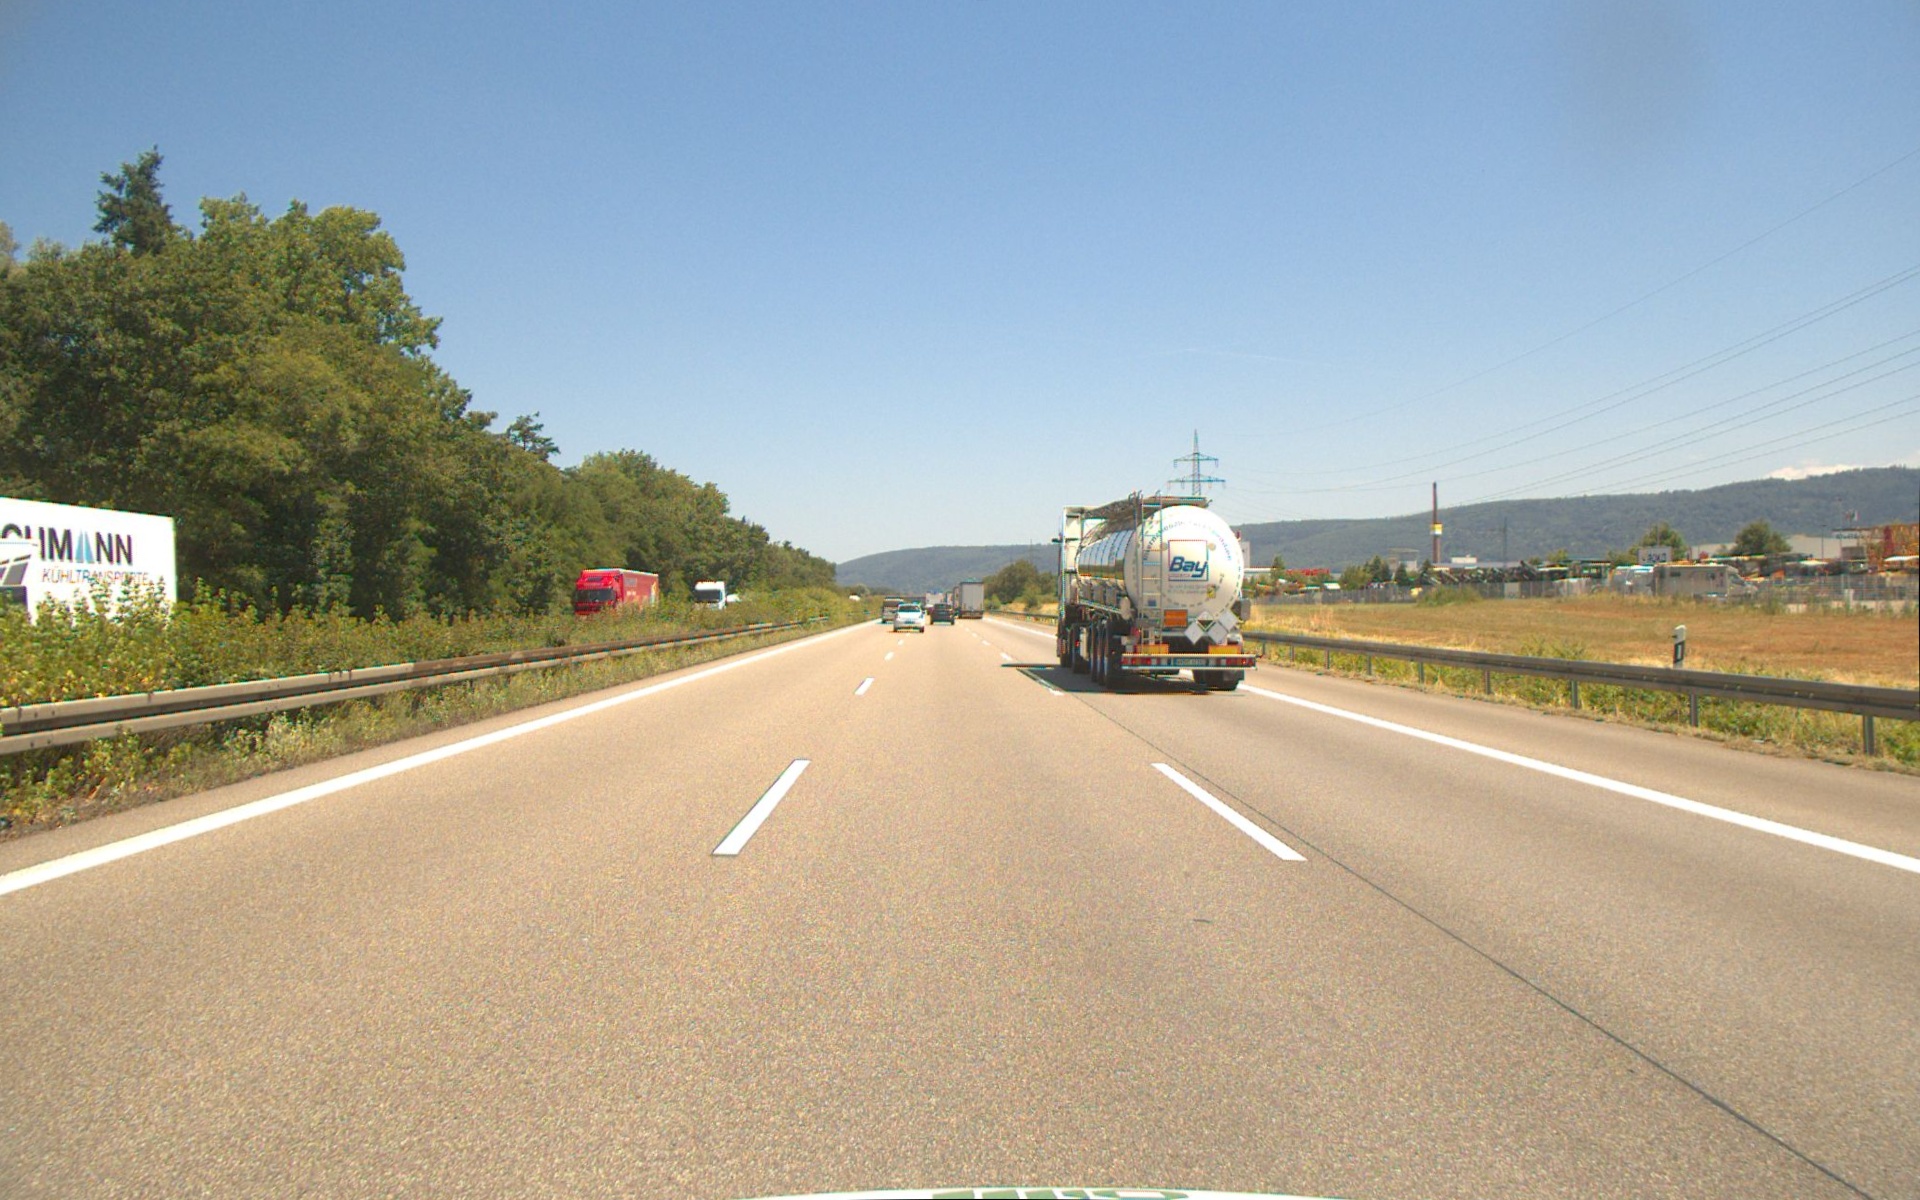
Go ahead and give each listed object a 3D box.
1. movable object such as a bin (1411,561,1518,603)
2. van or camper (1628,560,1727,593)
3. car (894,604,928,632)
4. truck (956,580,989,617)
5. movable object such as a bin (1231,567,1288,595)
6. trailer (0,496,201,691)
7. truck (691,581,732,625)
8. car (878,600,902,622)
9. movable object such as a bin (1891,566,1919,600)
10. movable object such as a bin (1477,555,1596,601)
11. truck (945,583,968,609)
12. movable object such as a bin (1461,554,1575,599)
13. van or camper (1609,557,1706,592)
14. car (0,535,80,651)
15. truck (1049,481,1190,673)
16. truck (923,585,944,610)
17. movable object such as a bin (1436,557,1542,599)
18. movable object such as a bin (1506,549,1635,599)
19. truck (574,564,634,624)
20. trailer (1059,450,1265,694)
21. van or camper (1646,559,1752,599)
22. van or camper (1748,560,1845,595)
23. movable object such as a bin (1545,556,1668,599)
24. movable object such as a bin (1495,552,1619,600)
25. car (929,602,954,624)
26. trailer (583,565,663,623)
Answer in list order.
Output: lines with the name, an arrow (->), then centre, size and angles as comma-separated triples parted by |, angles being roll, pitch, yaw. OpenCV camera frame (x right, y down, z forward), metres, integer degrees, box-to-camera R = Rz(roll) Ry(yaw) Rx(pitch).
movable object such as a bin -> 50.872, -1.807, 166.917 | 10.046, 3.754, 2.393 | -2, 0, -2
van or camper -> 51.444, -1.673, 118.651 | 5.991, 2.259, 2.602 | -1, 0, 0
car -> -2.678, 0.977, 91.003 | 1.770, 1.494, 3.999 | 1, 0, -1
truck -> 1.364, -0.205, 184.832 | 3.199, 3.925, 11.628 | 1, 0, -1
movable object such as a bin -> 44.544, -2.776, 246.366 | 8.013, 3.797, 3.339 | -2, 0, 6
trailer -> -19.981, -0.148, 33.713 | 2.768, 3.774, 13.925 | 1, 0, -1
truck -> -21.903, 0.260, 146.154 | 2.538, 3.770, 6.827 | 1, 0, 0
car -> -5.565, 0.843, 131.792 | 1.814, 1.661, 3.999 | 1, 0, -1
movable object such as a bin -> 75.589, -1.358, 128.178 | 2.853, 2.599, 6.806 | -2, 0, -1
movable object such as a bin -> 51.718, -1.980, 148.584 | 9.516, 3.754, 2.977 | -2, 0, 1
truck -> -0.540, -0.592, 241.936 | 3.034, 3.535, 11.539 | 1, 0, -1
movable object such as a bin -> 51.423, -2.126, 152.527 | 9.516, 3.754, 2.633 | -2, 0, 1
van or camper -> 51.236, -1.861, 121.616 | 5.991, 2.444, 2.602 | -1, 0, 0
car -> -16.120, -0.133, 25.402 | 2.255, 1.811, 5.424 | 1, 0, 0
truck -> 3.663, -0.508, 39.347 | 2.521, 4.143, 6.390 | 1, 0, -1
truck -> -3.978, -0.393, 245.741 | 3.034, 3.535, 11.539 | 1, 0, -1
movable object such as a bin -> 52.094, -2.162, 163.096 | 9.520, 3.754, 2.678 | -2, 0, -2
movable object such as a bin -> 51.533, -2.190, 139.881 | 9.512, 3.754, 3.420 | -2, 0, 4
truck -> -21.514, -0.360, 100.177 | 2.545, 3.482, 5.115 | 1, 0, -2
trailer -> 3.796, -0.488, 33.930 | 2.528, 4.145, 11.100 | 1, 0, -1
van or camper -> 51.346, -1.448, 115.033 | 6.212, 2.597, 2.438 | -1, 0, 0
van or camper -> 63.549, -1.709, 125.681 | 5.991, 2.444, 2.602 | -1, 0, 0
movable object such as a bin -> 51.722, -1.786, 132.534 | 8.545, 3.059, 3.216 | -2, 0, 5
movable object such as a bin -> 51.684, -2.047, 143.376 | 9.512, 3.754, 2.978 | -2, 0, 5
car -> -1.441, 0.977, 125.604 | 1.846, 1.542, 3.999 | 1, 0, -1
trailer -> -21.673, -0.373, 107.165 | 2.534, 3.477, 14.152 | 1, 0, -1
